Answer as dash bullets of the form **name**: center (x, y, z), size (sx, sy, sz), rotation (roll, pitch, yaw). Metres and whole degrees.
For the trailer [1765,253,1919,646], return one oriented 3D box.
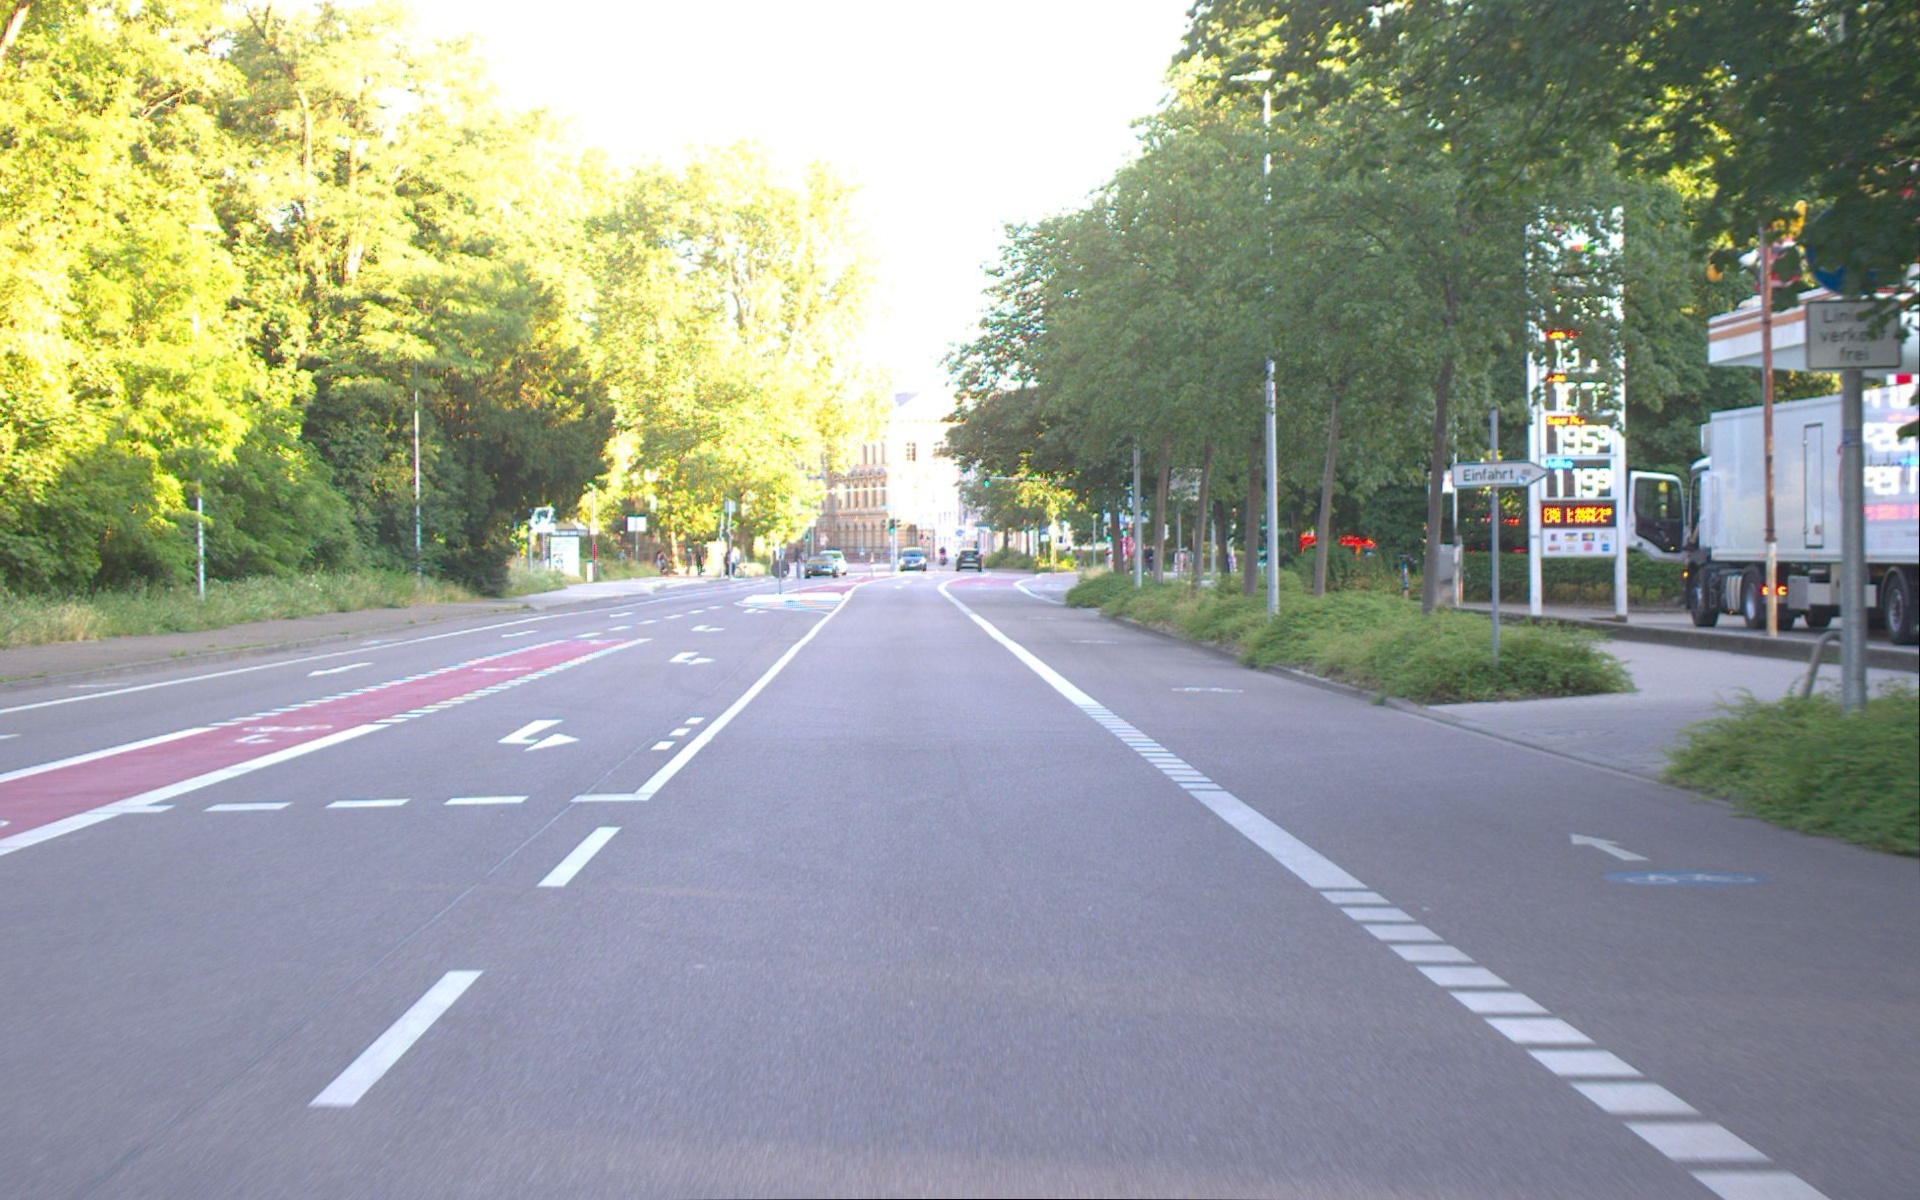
- **trailer**: center (14.627, -2.167, 51.142), size (3.020, 5.443, 7.936), rotation (0, 1, -3)

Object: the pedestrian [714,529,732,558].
- **pedestrian**: center (-13.001, -3.115, 188.655), size (0.791, 1.575, 0.745), rotation (1, 1, 8)

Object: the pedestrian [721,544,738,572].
- **pedestrian**: center (-13.111, -2.382, 195.748), size (0.791, 1.575, 0.745), rotation (1, 1, 8)

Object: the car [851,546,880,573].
- **car**: center (-5.213, -2.259, 189.741), size (1.493, 1.481, 3.491), rotation (0, 1, 0)

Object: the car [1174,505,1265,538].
- **car**: center (12.949, -3.897, 171.496), size (4.460, 1.585, 1.715), rotation (0, 1, 7)

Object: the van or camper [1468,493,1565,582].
- **van or camper**: center (21.197, -2.355, 131.039), size (3.439, 3.189, 8.229), rotation (2, 1, 9)

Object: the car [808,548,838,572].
- **car**: center (-7.407, -2.164, 185.671), size (1.493, 1.287, 3.491), rotation (0, 1, 0)

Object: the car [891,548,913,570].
- **car**: center (-3.969, -2.825, 235.555), size (1.493, 1.481, 3.491), rotation (0, 1, 0)

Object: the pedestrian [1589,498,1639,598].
- **pedestrian**: center (11.835, -0.942, 62.269), size (0.757, 1.791, 0.706), rotation (1, 1, 3)

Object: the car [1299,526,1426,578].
- **car**: center (15.751, -1.892, 134.609), size (4.912, 1.983, 1.921), rotation (0, 1, 7)

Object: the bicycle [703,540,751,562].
- **bicycle**: center (-12.788, -2.689, 188.712), size (2.463, 1.191, 0.757), rotation (0, 1, 9)

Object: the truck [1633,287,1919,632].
- **truck**: center (14.129, -2.325, 58.774), size (3.032, 5.437, 8.411), rotation (-1, 1, -4)

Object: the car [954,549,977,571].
- **car**: center (0.366, -2.717, 235.110), size (1.493, 1.481, 3.491), rotation (0, 1, 0)

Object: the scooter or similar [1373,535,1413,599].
- **scooter or similar**: center (8.753, -0.672, 69.480), size (0.597, 1.278, 1.469), rotation (0, 1, 0)
